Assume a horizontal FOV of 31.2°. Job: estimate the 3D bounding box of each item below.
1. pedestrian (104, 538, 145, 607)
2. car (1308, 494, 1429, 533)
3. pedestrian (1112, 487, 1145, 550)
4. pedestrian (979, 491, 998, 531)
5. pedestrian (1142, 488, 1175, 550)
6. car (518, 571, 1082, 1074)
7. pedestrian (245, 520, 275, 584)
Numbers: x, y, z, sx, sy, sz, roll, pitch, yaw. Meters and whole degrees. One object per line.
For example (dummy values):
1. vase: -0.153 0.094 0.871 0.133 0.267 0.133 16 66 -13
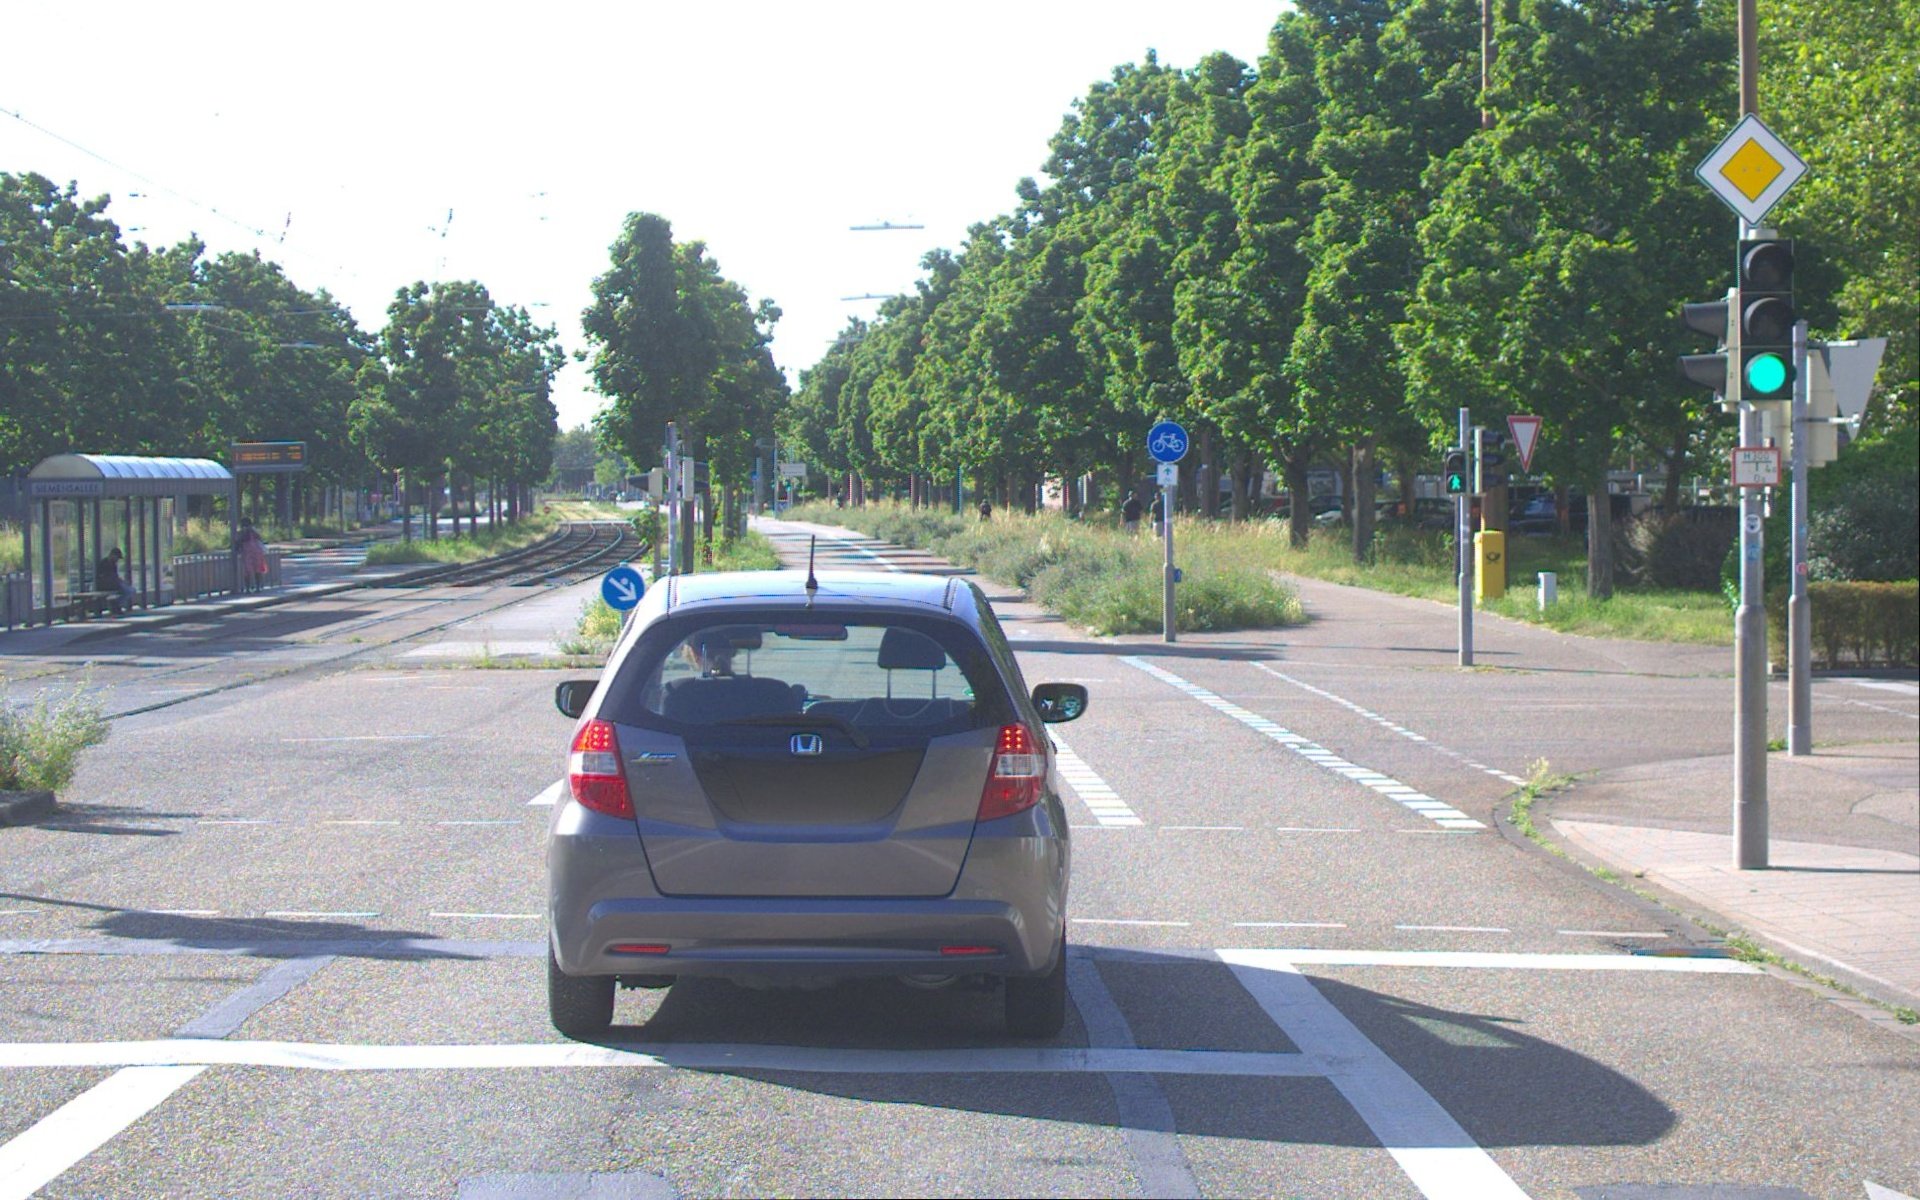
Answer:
1. pedestrian: -15.530 -0.509 63.898 0.563 1.252 0.581 -3 1 -1
2. car: 16.966 -3.582 142.899 4.630 1.550 2.001 -1 2 -6
3. pedestrian: 5.120 -2.483 104.627 0.882 1.877 0.875 -1 1 -4
4. pedestrian: 1.202 -3.759 145.334 0.725 1.685 0.821 0 1 -3
5. pedestrian: 6.050 -2.472 104.644 0.882 1.877 0.875 -1 1 -4
6. car: -0.506 0.659 12.273 1.701 1.518 3.710 0 0 -1
7. pedestrian: -15.983 -1.090 78.455 0.544 1.442 0.559 -1 1 -1
